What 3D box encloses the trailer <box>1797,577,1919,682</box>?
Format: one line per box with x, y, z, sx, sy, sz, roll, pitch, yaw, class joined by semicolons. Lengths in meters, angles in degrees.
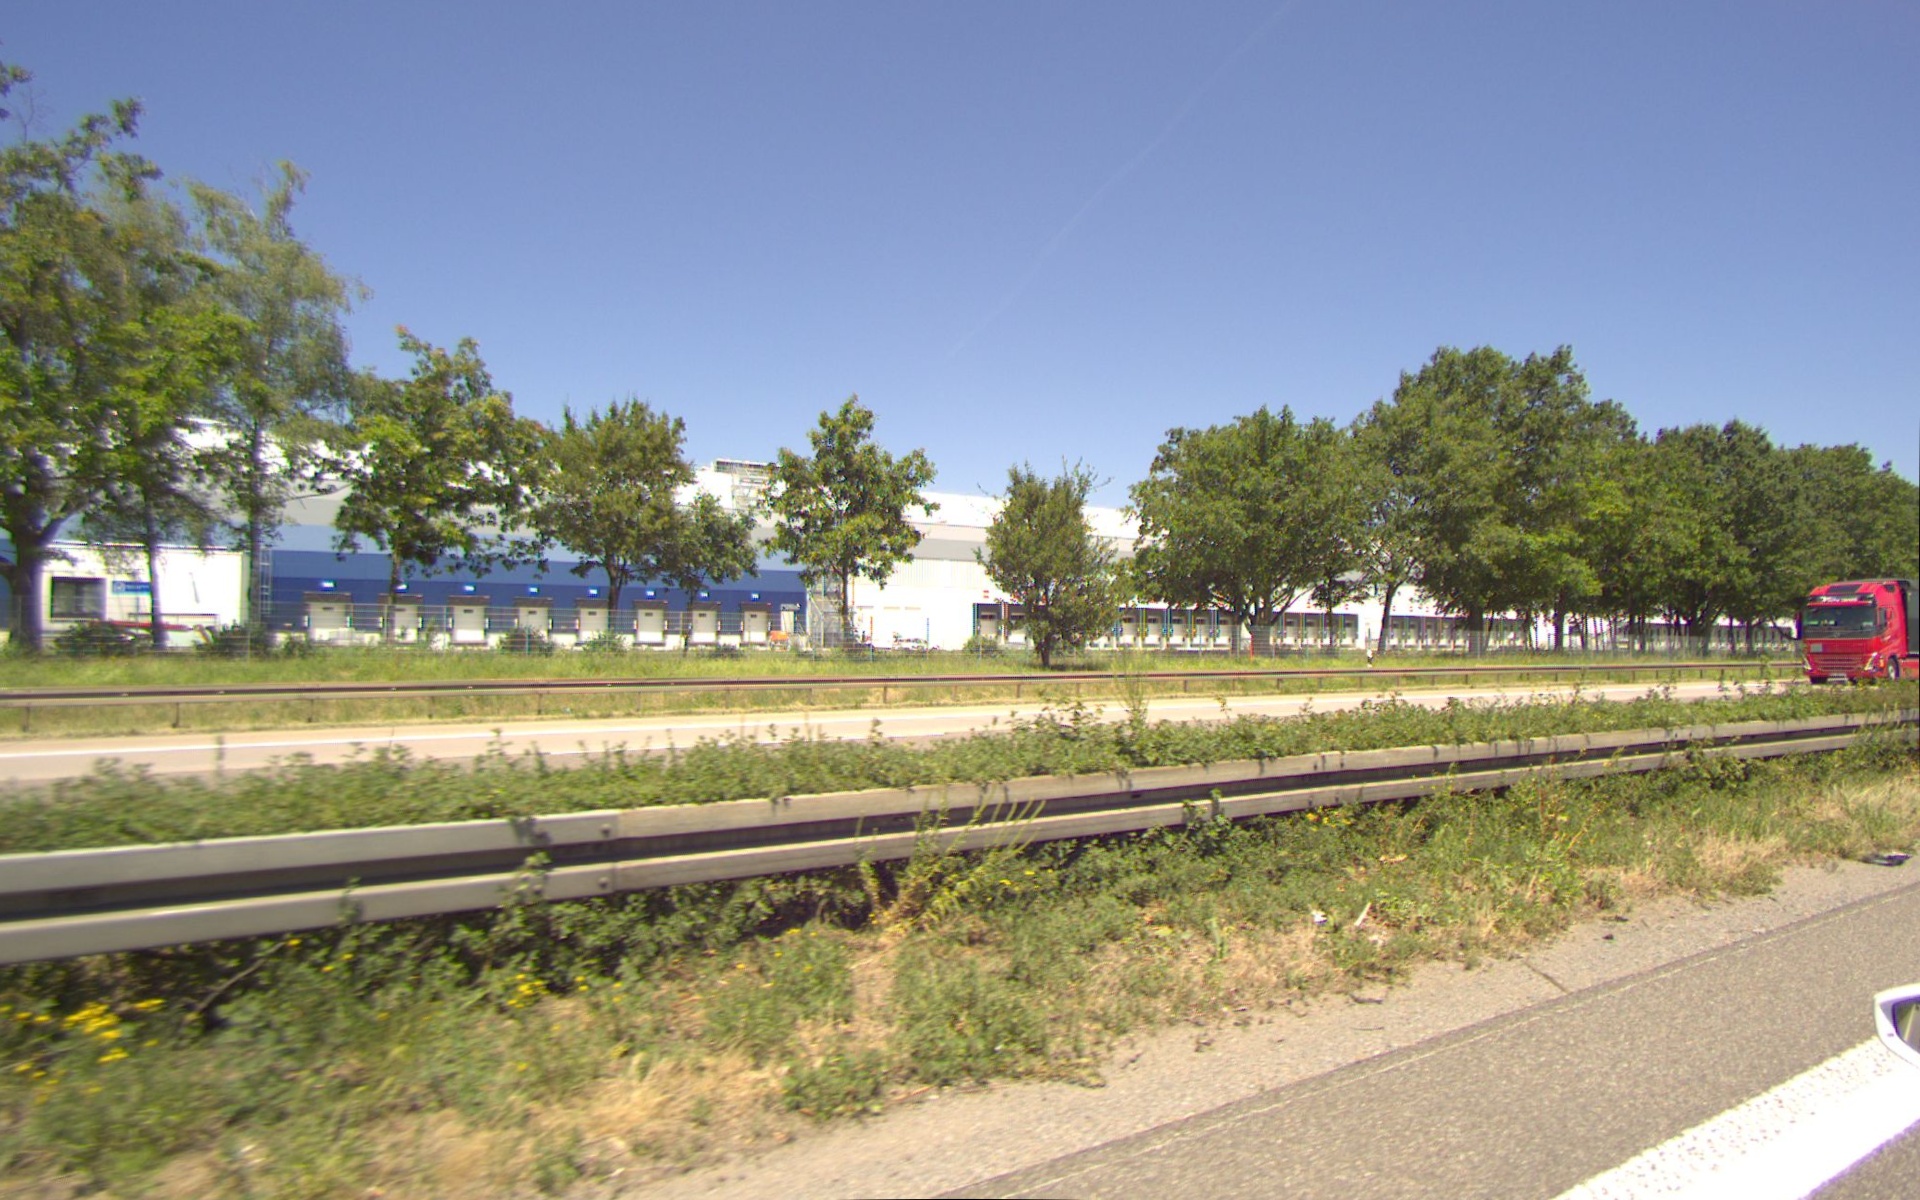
41.805;1.375;43.890;14.037;4.063;3.432;2;-4;-31;trailer

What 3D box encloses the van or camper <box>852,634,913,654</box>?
-6.797;3.845;88.040;4.961;1.674;1.984;2;-3;-30;van or camper

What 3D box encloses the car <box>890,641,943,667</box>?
-3.606;4.489;83.851;3.953;2.040;1.984;2;-3;-31;car

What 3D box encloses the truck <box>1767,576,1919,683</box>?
35.983;1.252;40.418;6.148;3.982;3.424;1;-4;-30;truck
